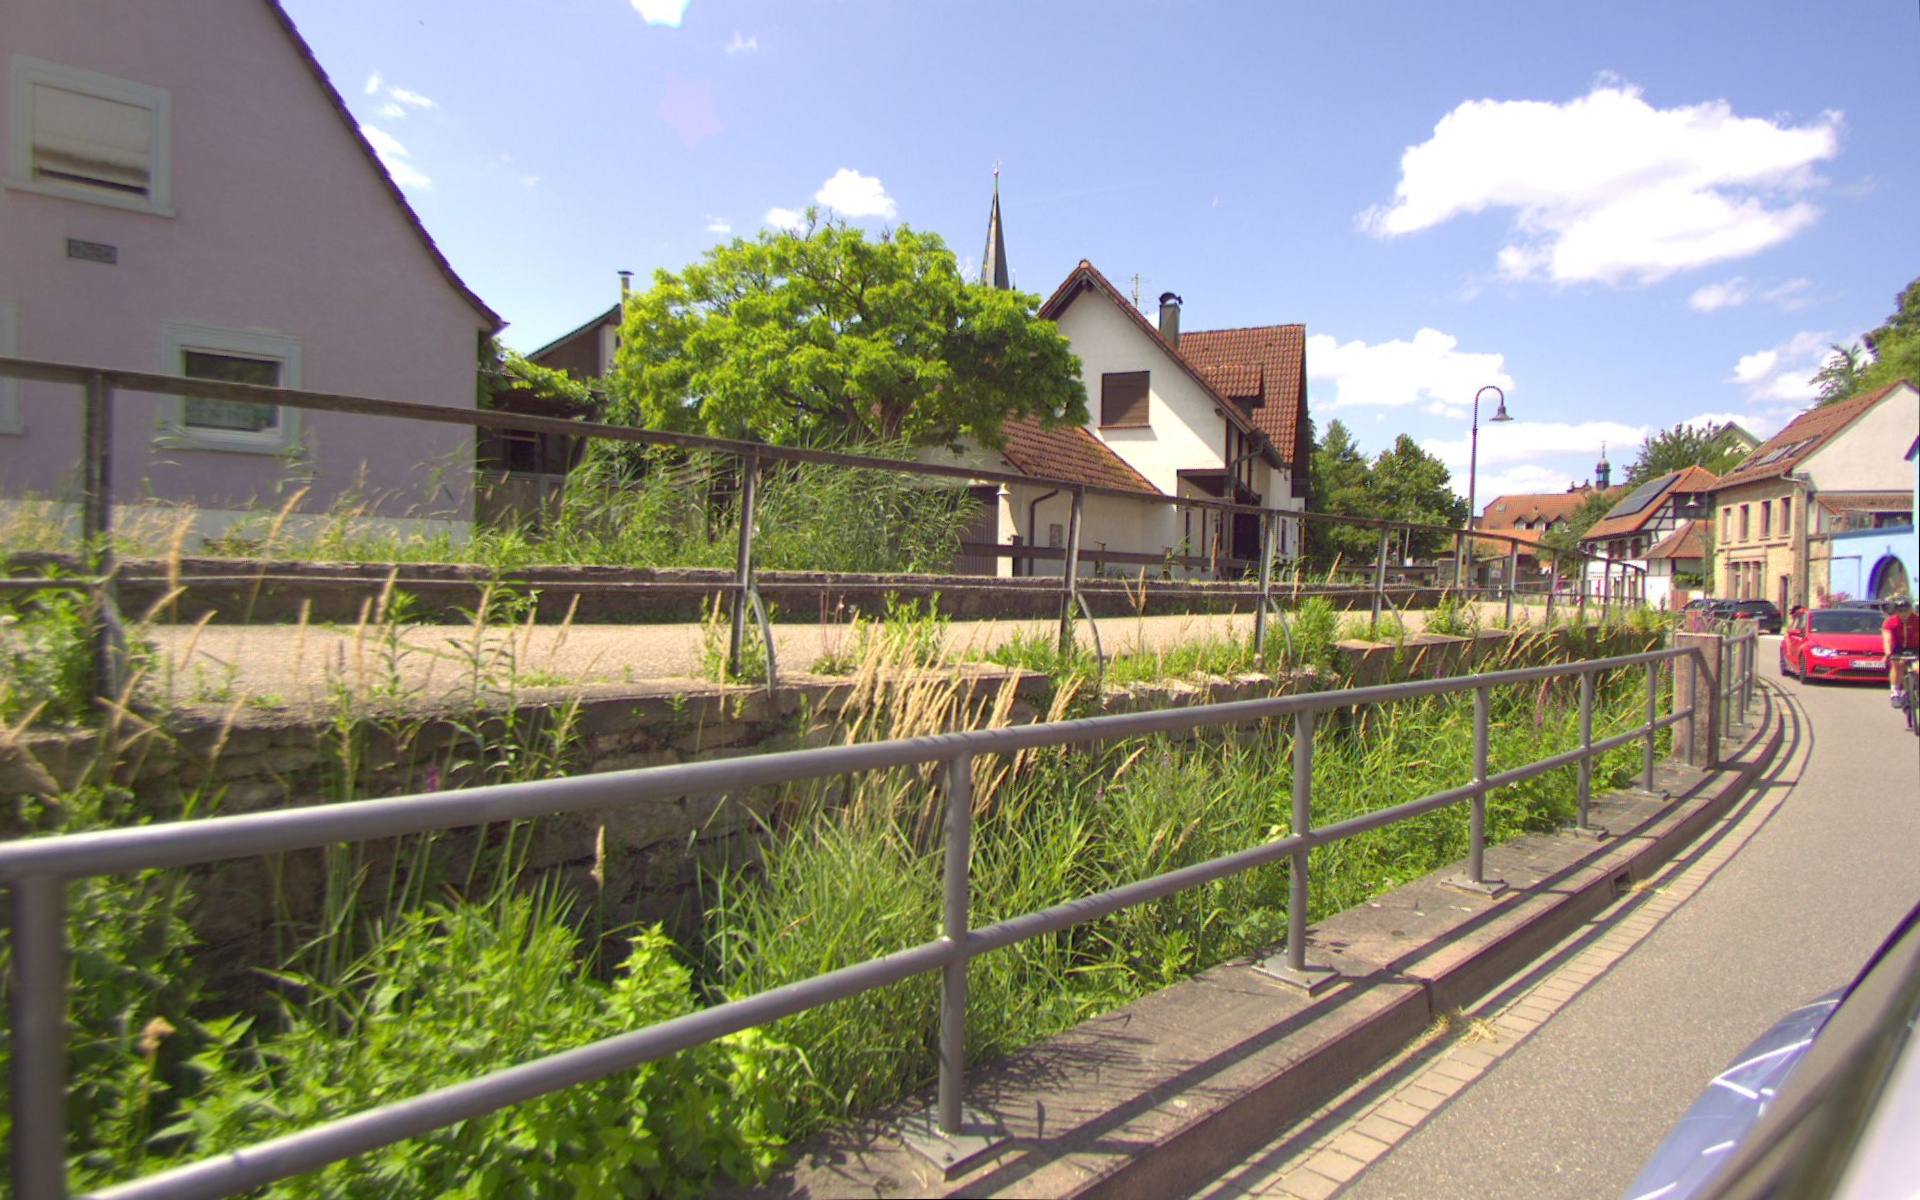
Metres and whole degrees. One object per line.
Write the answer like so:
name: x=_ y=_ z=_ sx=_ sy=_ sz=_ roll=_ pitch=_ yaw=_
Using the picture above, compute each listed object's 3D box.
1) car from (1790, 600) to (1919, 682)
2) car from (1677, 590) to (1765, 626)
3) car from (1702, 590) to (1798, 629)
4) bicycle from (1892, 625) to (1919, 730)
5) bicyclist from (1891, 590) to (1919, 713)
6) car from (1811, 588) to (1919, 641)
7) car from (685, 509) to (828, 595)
car: x=16.887 y=0.704 z=19.097 sx=1.660 sy=1.369 sz=3.449 roll=0 pitch=0 yaw=36
car: x=34.790 y=0.322 z=46.396 sx=1.938 sy=1.484 sz=4.517 roll=0 pitch=2 yaw=20
car: x=32.717 y=0.360 z=42.056 sx=1.869 sy=1.483 sz=4.633 roll=-2 pitch=-1 yaw=22
bicycle: x=11.270 y=0.875 z=11.837 sx=0.529 sy=1.090 sz=2.022 roll=0 pitch=1 yaw=42
bicyclist: x=11.363 y=0.594 z=11.953 sx=0.531 sy=1.422 sz=0.743 roll=0 pitch=0 yaw=43
car: x=29.009 y=0.416 z=32.324 sx=1.703 sy=1.549 sz=3.826 roll=-2 pitch=0 yaw=23
car: x=-4.140 y=-0.901 z=20.205 sx=1.723 sy=1.545 sz=3.519 roll=0 pitch=1 yaw=-31
